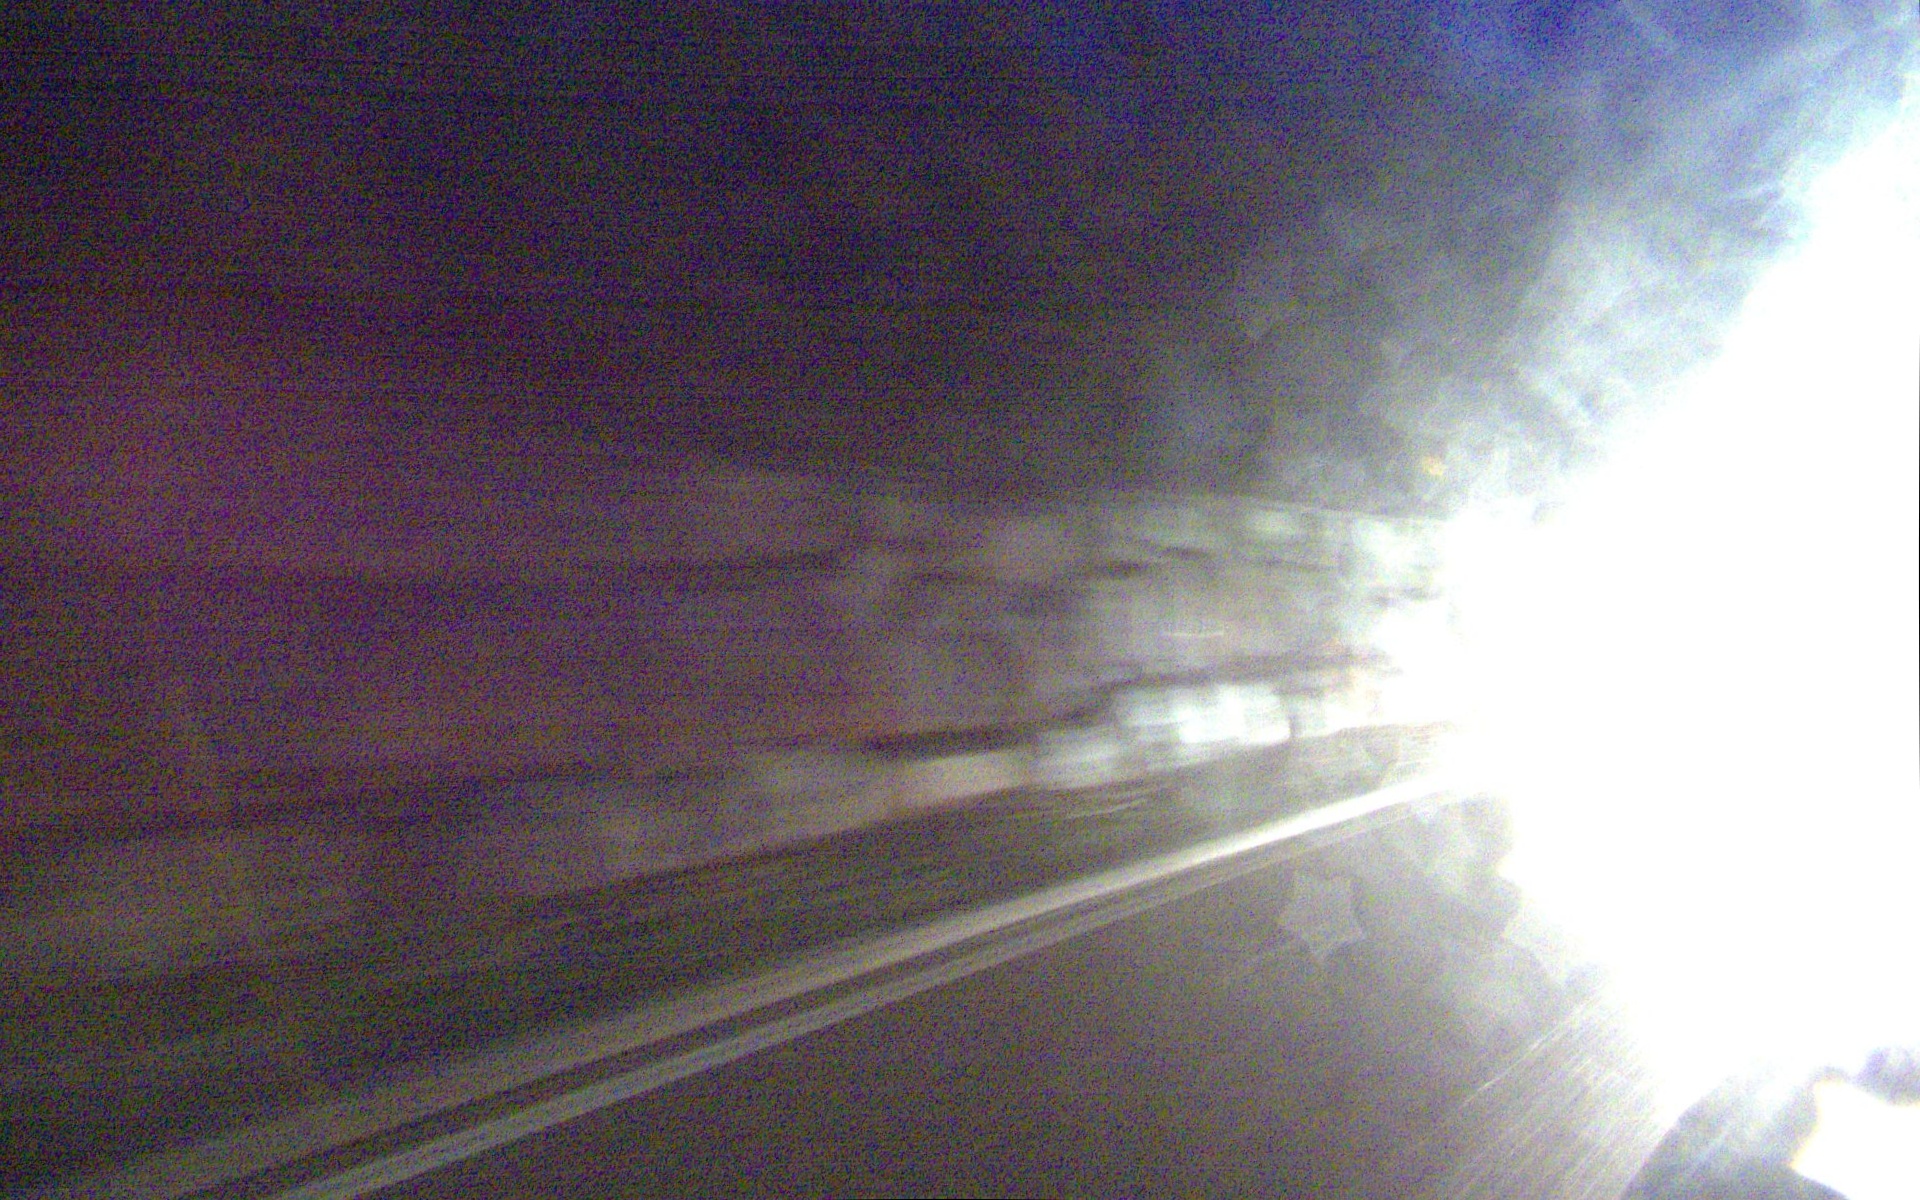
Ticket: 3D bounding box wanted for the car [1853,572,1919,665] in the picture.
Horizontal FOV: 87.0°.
[{"bbox_3d":[18.370,0.277,18.944,4.805,1.608,1.876,-1,0,-42],"label":"car"}]
